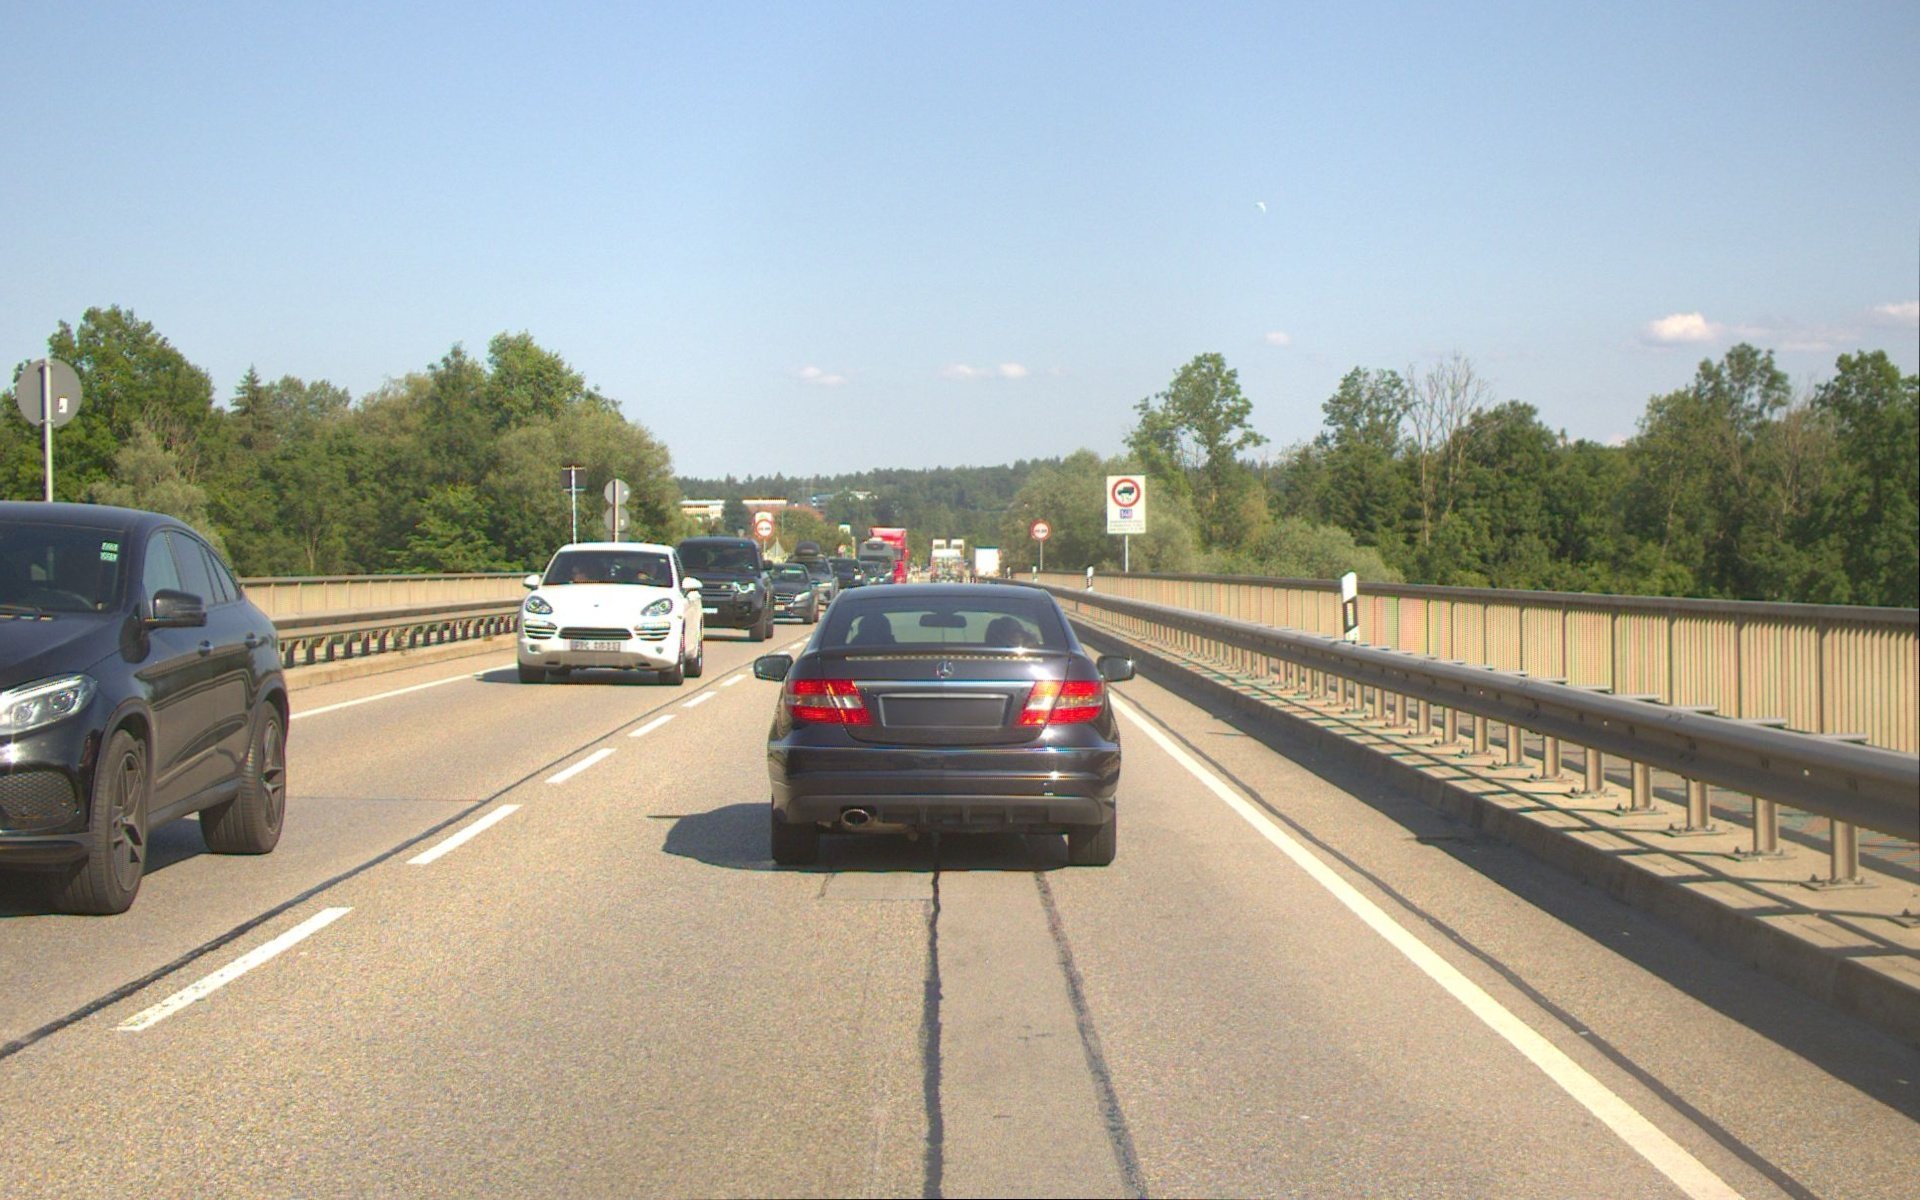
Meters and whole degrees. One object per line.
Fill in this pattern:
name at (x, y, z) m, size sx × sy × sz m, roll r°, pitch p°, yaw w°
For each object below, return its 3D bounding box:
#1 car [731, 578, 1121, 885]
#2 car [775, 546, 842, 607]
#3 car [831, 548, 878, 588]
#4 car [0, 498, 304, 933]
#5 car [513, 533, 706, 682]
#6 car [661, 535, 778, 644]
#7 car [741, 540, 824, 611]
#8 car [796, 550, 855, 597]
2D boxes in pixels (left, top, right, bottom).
car at (-0.160, 0.597, 17.922) m, size 1.793 × 1.371 × 4.000 m, roll 1°, pitch 1°, yaw 0°
car at (-4.604, -0.732, 104.971) m, size 1.854 × 1.716 × 4.566 m, roll 4°, pitch 1°, yaw -1°
car at (-4.497, -1.364, 146.354) m, size 1.806 × 1.572 × 4.202 m, roll 2°, pitch 1°, yaw -4°
car at (-4.358, 0.406, 15.578) m, size 1.949 × 1.688 × 4.477 m, roll 1°, pitch 1°, yaw -1°
car at (-4.187, 0.039, 41.657) m, size 1.983 × 1.645 × 4.598 m, roll 1°, pitch 1°, yaw -2°
car at (-4.468, -0.229, 64.353) m, size 2.037 × 1.867 × 5.071 m, roll 2°, pitch 1°, yaw -3°
car at (-4.256, -0.601, 81.783) m, size 1.765 × 1.442 × 4.457 m, roll 6°, pitch 1°, yaw -4°
car at (-5.094, -1.019, 129.477) m, size 2.053 × 1.647 × 4.722 m, roll 2°, pitch 1°, yaw -4°
